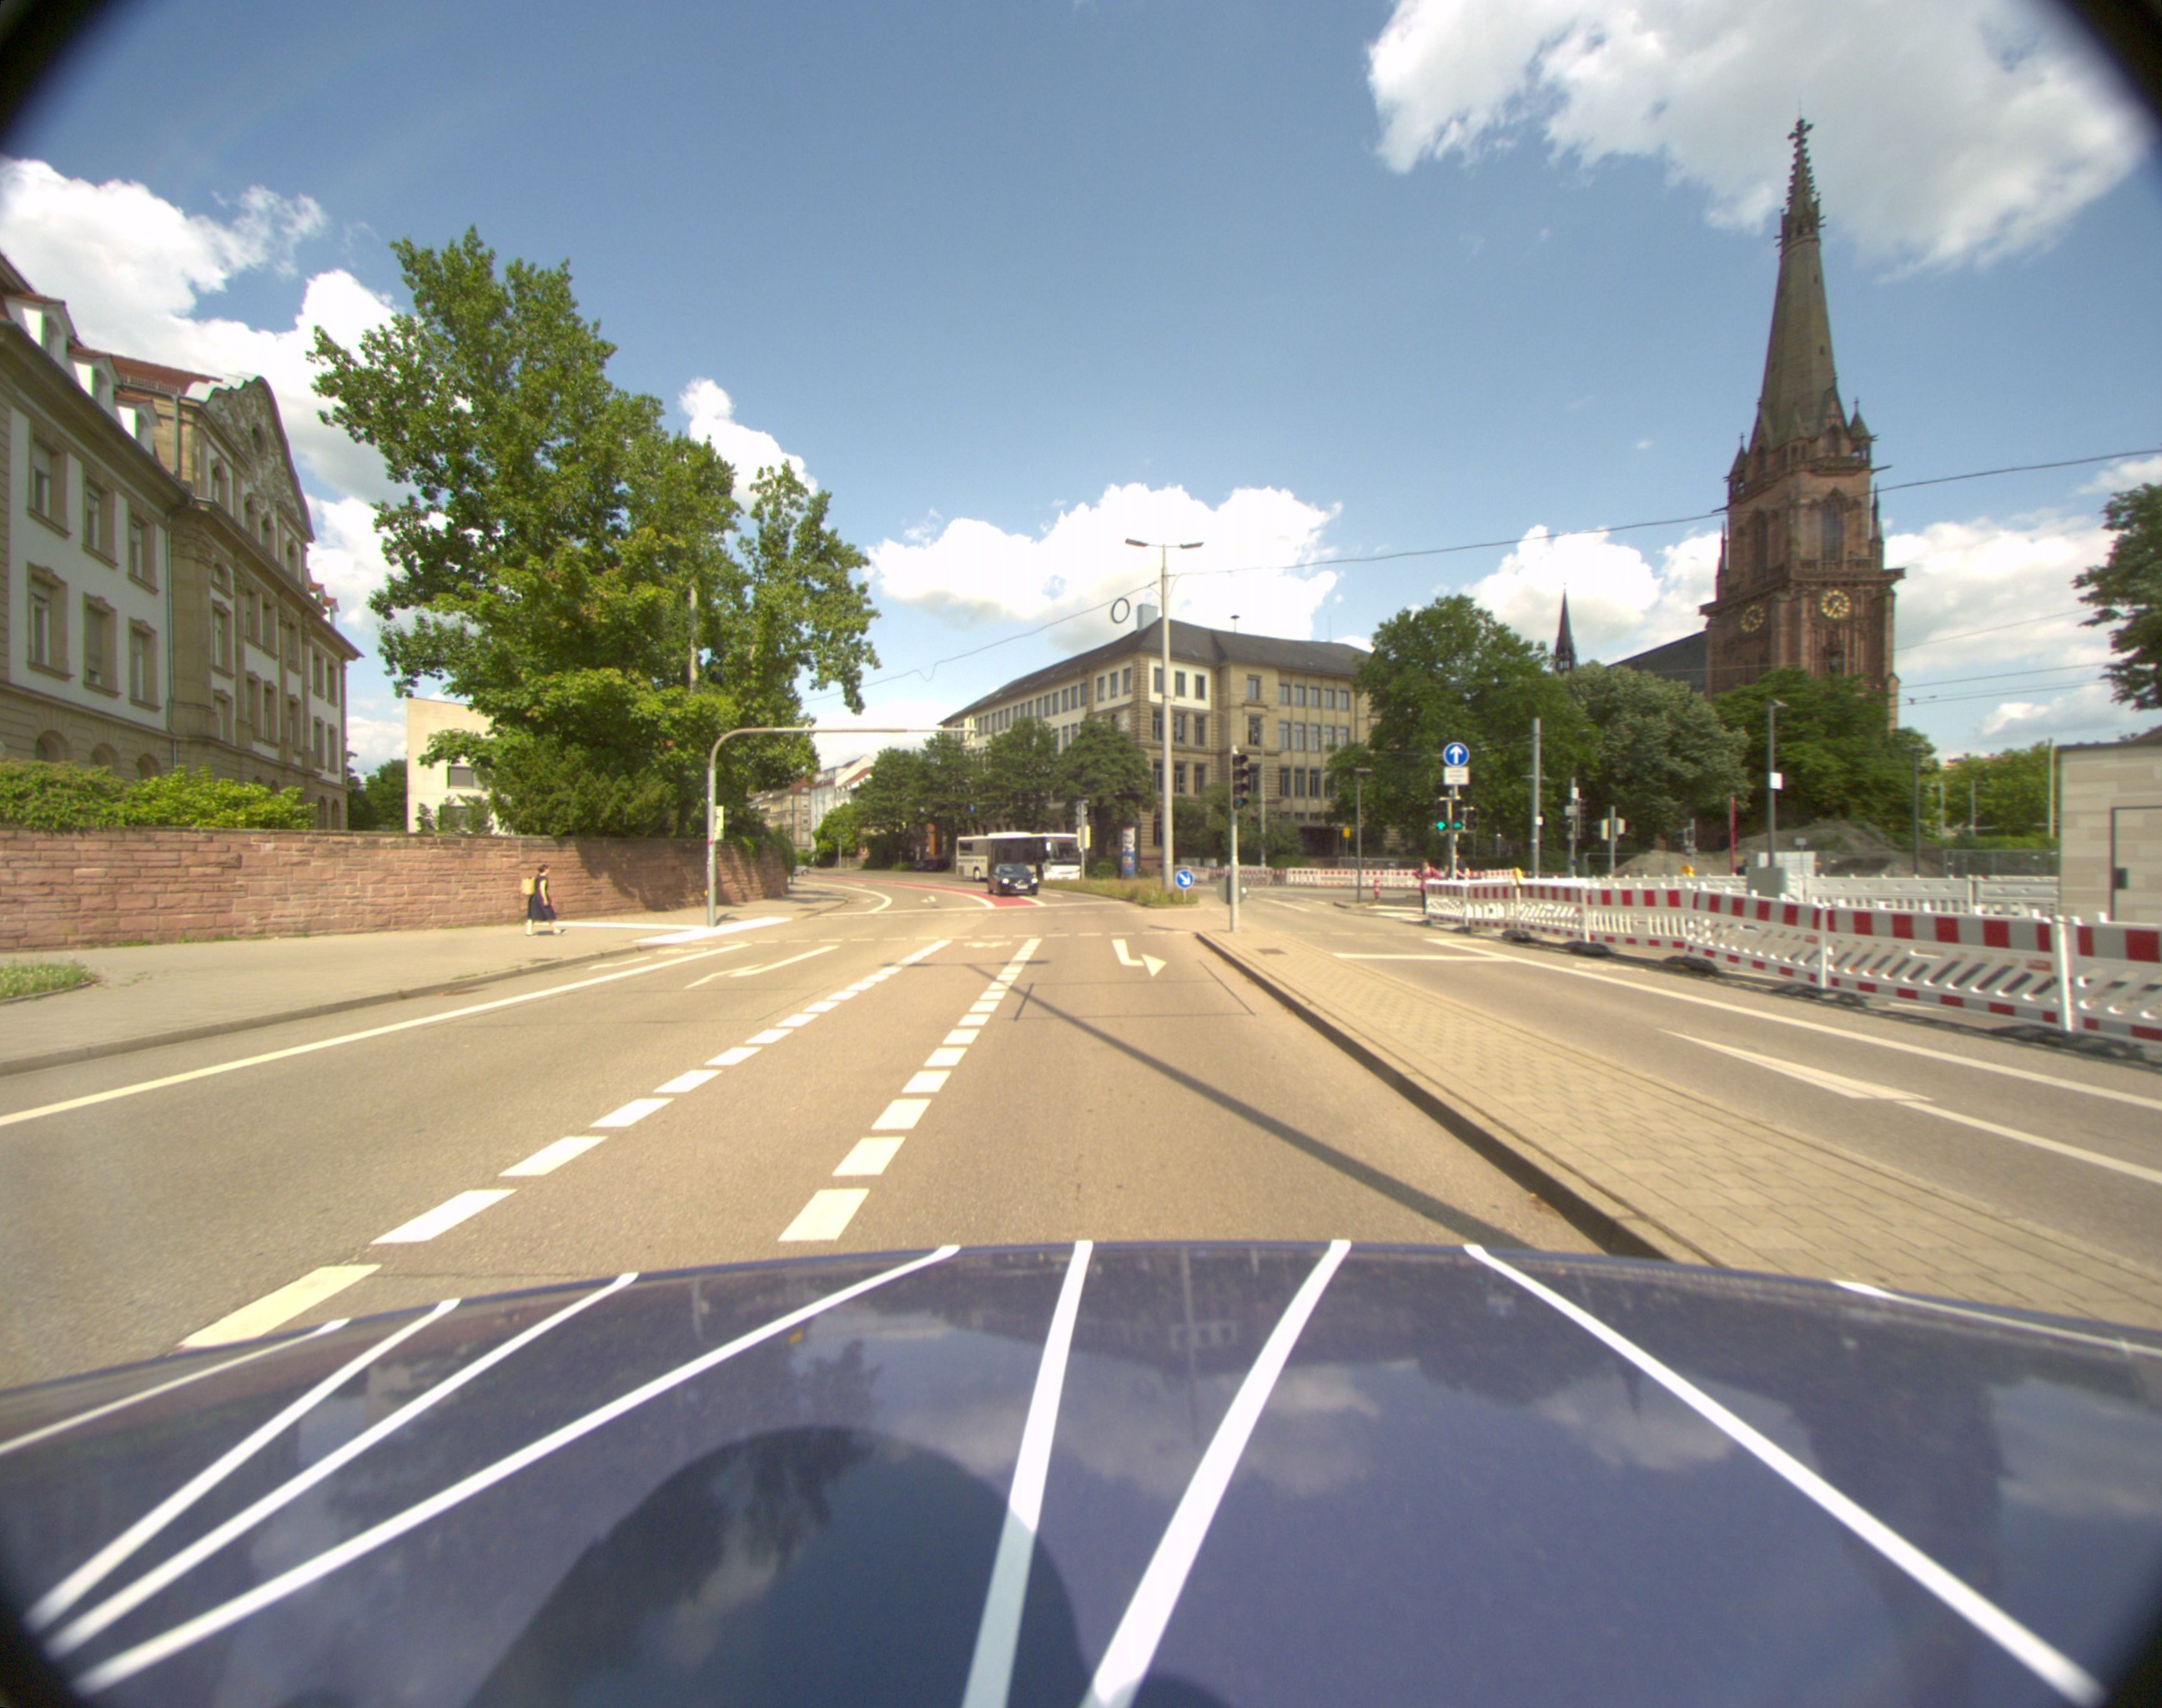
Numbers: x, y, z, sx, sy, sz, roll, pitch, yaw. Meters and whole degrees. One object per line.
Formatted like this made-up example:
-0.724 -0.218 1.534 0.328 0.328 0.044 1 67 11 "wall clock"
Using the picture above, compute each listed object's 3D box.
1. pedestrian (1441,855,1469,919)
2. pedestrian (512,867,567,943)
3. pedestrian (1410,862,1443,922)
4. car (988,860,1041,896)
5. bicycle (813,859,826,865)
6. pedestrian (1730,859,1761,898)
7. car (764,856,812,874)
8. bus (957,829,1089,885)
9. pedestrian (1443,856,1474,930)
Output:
10.237 0.899 20.800 0.410 1.726 0.621 0 0 -7 "pedestrian"
-12.031 1.101 16.879 0.748 1.629 0.889 1 0 45 "pedestrian"
9.865 1.078 21.714 0.613 1.696 0.622 0 0 -12 "pedestrian"
-3.191 1.093 35.804 1.696 1.567 4.151 0 0 -16 "car"
-42.996 1.358 124.826 1.148 0.904 2.981 -4 2 -34 "bicycle"
28.489 1.047 32.583 0.581 1.642 0.788 0 0 -19 "pedestrian"
-27.366 1.066 71.035 3.901 1.595 1.661 1 -2 -41 "car"
-4.228 0.146 50.491 2.932 3.309 12.173 -1 1 -35 "bus"
9.862 0.994 19.840 0.611 1.874 0.795 0 0 33 "pedestrian"
